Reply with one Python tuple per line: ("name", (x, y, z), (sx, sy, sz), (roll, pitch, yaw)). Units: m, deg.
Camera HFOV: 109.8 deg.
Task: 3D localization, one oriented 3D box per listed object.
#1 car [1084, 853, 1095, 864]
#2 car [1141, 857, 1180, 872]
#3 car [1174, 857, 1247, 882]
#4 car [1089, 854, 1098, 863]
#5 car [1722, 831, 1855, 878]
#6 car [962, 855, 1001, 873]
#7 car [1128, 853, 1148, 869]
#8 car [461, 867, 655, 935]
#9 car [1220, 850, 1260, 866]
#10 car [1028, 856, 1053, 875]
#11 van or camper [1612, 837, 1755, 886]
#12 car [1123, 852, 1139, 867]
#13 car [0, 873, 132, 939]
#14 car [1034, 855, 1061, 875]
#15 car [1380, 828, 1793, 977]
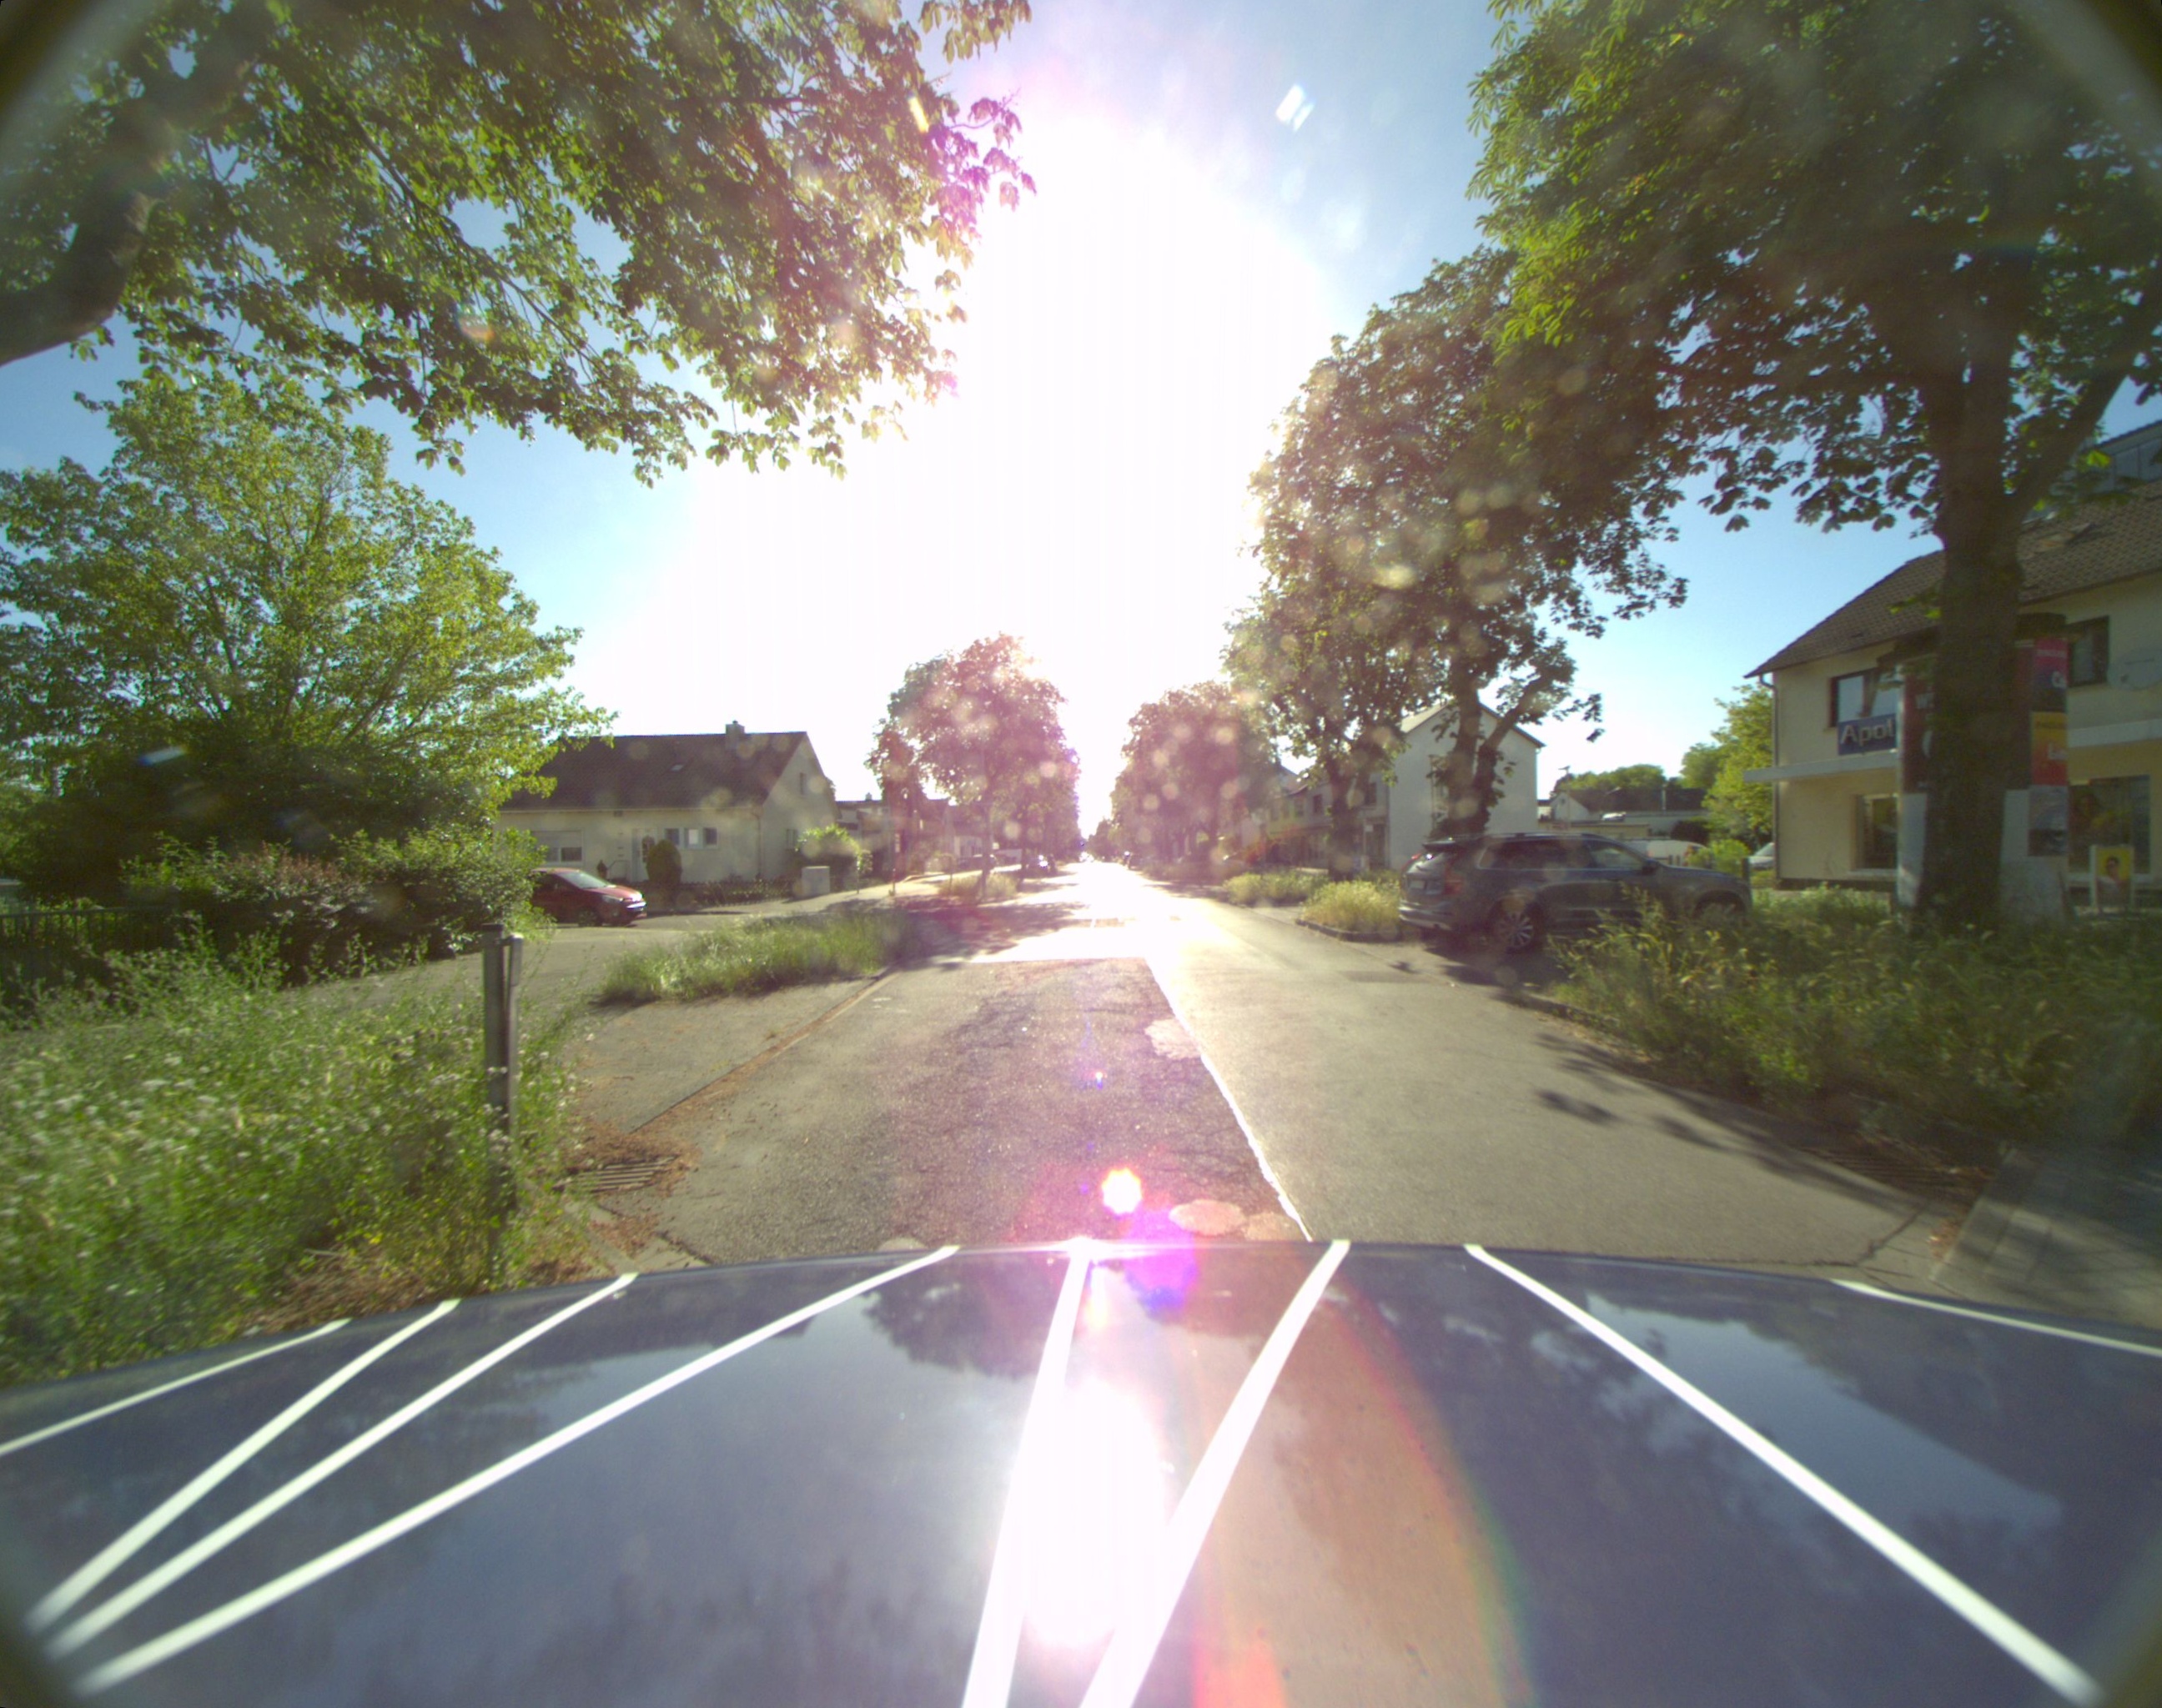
("car", (1.408, 0.776, 123.084), (1.539, 1.582, 3.458), (-4, 1, 3))
("car", (8.009, 1.060, 76.748), (3.695, 1.315, 1.624), (-3, 1, -5))
("car", (8.396, 0.990, 49.536), (4.393, 1.408, 2.000), (-3, 1, 0))
("car", (2.478, 0.949, 148.126), (1.539, 1.582, 3.458), (-4, 1, 3))
("car", (30.819, 0.014, 33.192), (3.998, 1.819, 1.999), (-2, 1, -2))
("car", (-9.745, 0.938, 74.517), (3.621, 1.431, 1.695), (-4, 1, -2))
("car", (6.107, 0.723, 81.682), (1.998, 1.530, 3.695), (-4, 1, 3))
("car", (-12.765, 1.116, 18.704), (3.550, 1.501, 1.640), (-2, -1, -3))
("car", (16.012, 0.374, 76.689), (3.773, 1.556, 1.691), (0, 1, 4))
("car", (-3.162, 0.858, 59.547), (1.690, 1.414, 3.777), (0, 1, 1))
("van or camper", (26.042, 0.299, 32.944), (4.685, 2.002, 1.999), (-1, 1, -2))
("car", (6.137, 0.649, 92.999), (1.815, 1.722, 4.056), (-1, 0, 3))
("car", (-26.898, 1.281, 18.908), (4.309, 1.502, 1.889), (-1, 0, 3))
("car", (-2.882, 0.927, 65.812), (1.941, 1.684, 4.363), (-2, 0, 3))
("car", (7.598, 0.663, 11.766), (5.075, 1.718, 1.999), (-4, 1, -3))
